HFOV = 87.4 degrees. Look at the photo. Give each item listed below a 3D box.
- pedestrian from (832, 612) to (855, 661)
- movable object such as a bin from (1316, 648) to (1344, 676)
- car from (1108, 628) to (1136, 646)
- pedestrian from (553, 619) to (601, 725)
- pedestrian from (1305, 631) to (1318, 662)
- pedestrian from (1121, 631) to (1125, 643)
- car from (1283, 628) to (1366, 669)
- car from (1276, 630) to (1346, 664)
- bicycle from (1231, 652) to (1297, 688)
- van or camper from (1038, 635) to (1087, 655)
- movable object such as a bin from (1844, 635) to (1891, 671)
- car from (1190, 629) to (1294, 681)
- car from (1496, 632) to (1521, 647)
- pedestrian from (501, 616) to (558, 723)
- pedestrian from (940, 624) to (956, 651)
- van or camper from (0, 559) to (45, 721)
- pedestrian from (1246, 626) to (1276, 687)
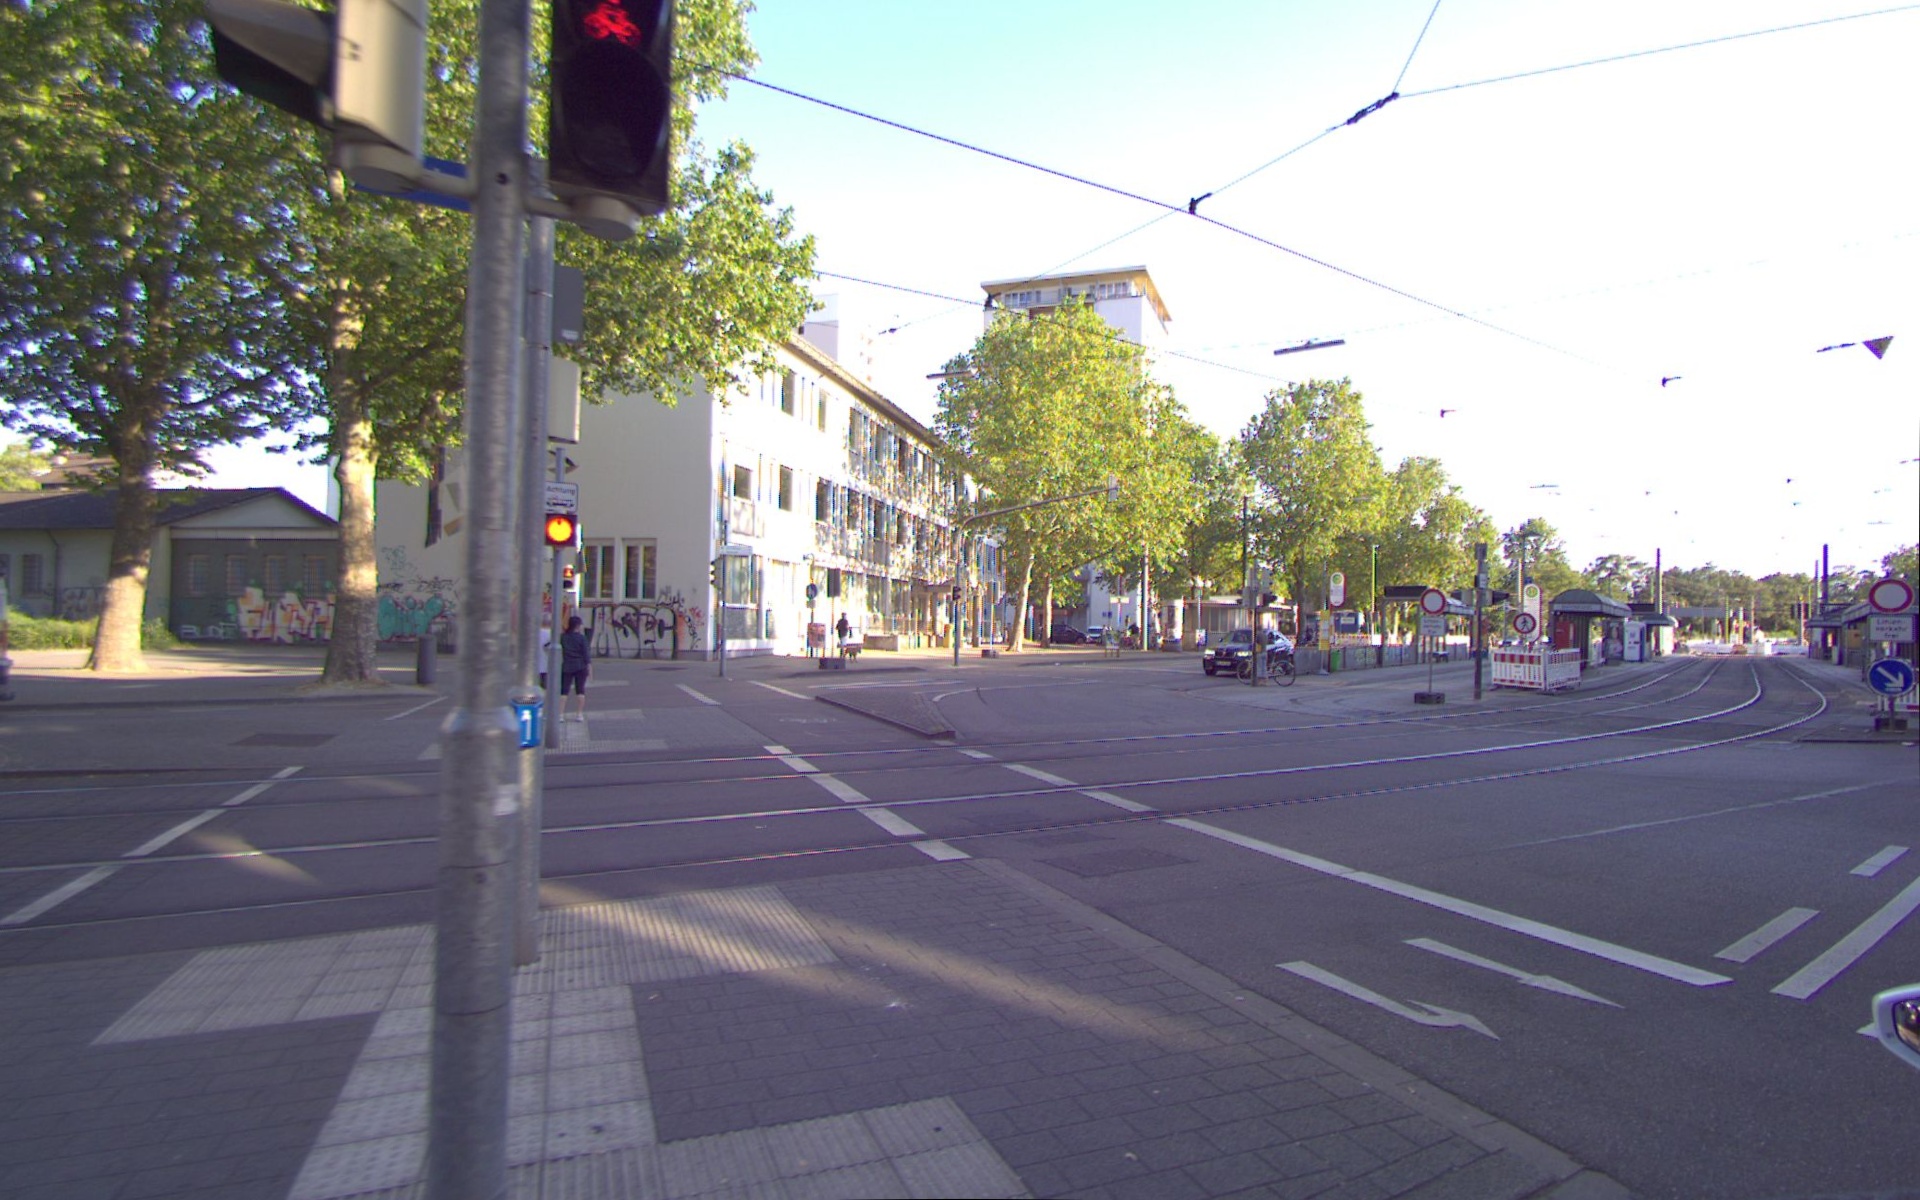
[{"bbox_3d":[-4.217,1.323,36.453,0.663,1.733,0.431,2,1,21],"label":"pedestrian"},{"bbox_3d":[12.745,2.134,34.621,0.663,0.878,0.699,2,1,41],"label":"movable object such as a bin"},{"bbox_3d":[16.347,3.673,101.047,1.961,1.586,3.999,2,1,21],"label":"car"},{"bbox_3d":[-5.658,1.051,14.836,0.404,1.524,0.514,0,-1,45],"label":"pedestrian"},{"bbox_3d":[23.129,3.060,66.081,0.697,2.040,0.741,1,-1,32],"label":"pedestrian"},{"bbox_3d":[16.102,3.661,99.266,0.385,1.086,0.388,1,-1,19],"label":"pedestrian"},{"bbox_3d":[14.987,1.989,41.223,1.864,1.551,4.187,0,-2,40],"label":"car"},{"bbox_3d":[17.135,2.290,48.953,1.864,1.551,4.187,0,-2,40],"label":"car"},{"bbox_3d":[8.980,2.057,29.722,1.817,0.955,0.462,0,-1,38],"label":"bicycle"},{"bbox_3d":[8.625,3.770,84.768,3.921,1.572,1.829,1,-1,-1],"label":"van or camper"},{"bbox_3d":[67.617,3.906,74.905,2.465,2.509,5.328,0,-2,41],"label":"movable object such as a bin"},{"bbox_3d":[9.695,1.850,34.381,1.864,1.606,4.187,0,-2,40],"label":"car"},{"bbox_3d":[58.505,4.210,107.146,1.861,1.551,4.192,0,-2,36],"label":"car"},{"bbox_3d":[-6.334,1.008,14.769,0.515,1.524,0.590,0,-1,45],"label":"pedestrian"},{"bbox_3d":[-0.641,2.008,53.838,0.663,1.414,0.693,2,1,13],"label":"pedestrian"},{"bbox_3d":[-16.232,0.548,13.957,5.064,2.349,2.149,2,-3,-41],"label":"van or camper"},{"bbox_3d":[8.788,1.647,29.332,0.711,1.748,0.398,0,-1,38],"label":"pedestrian"}]
